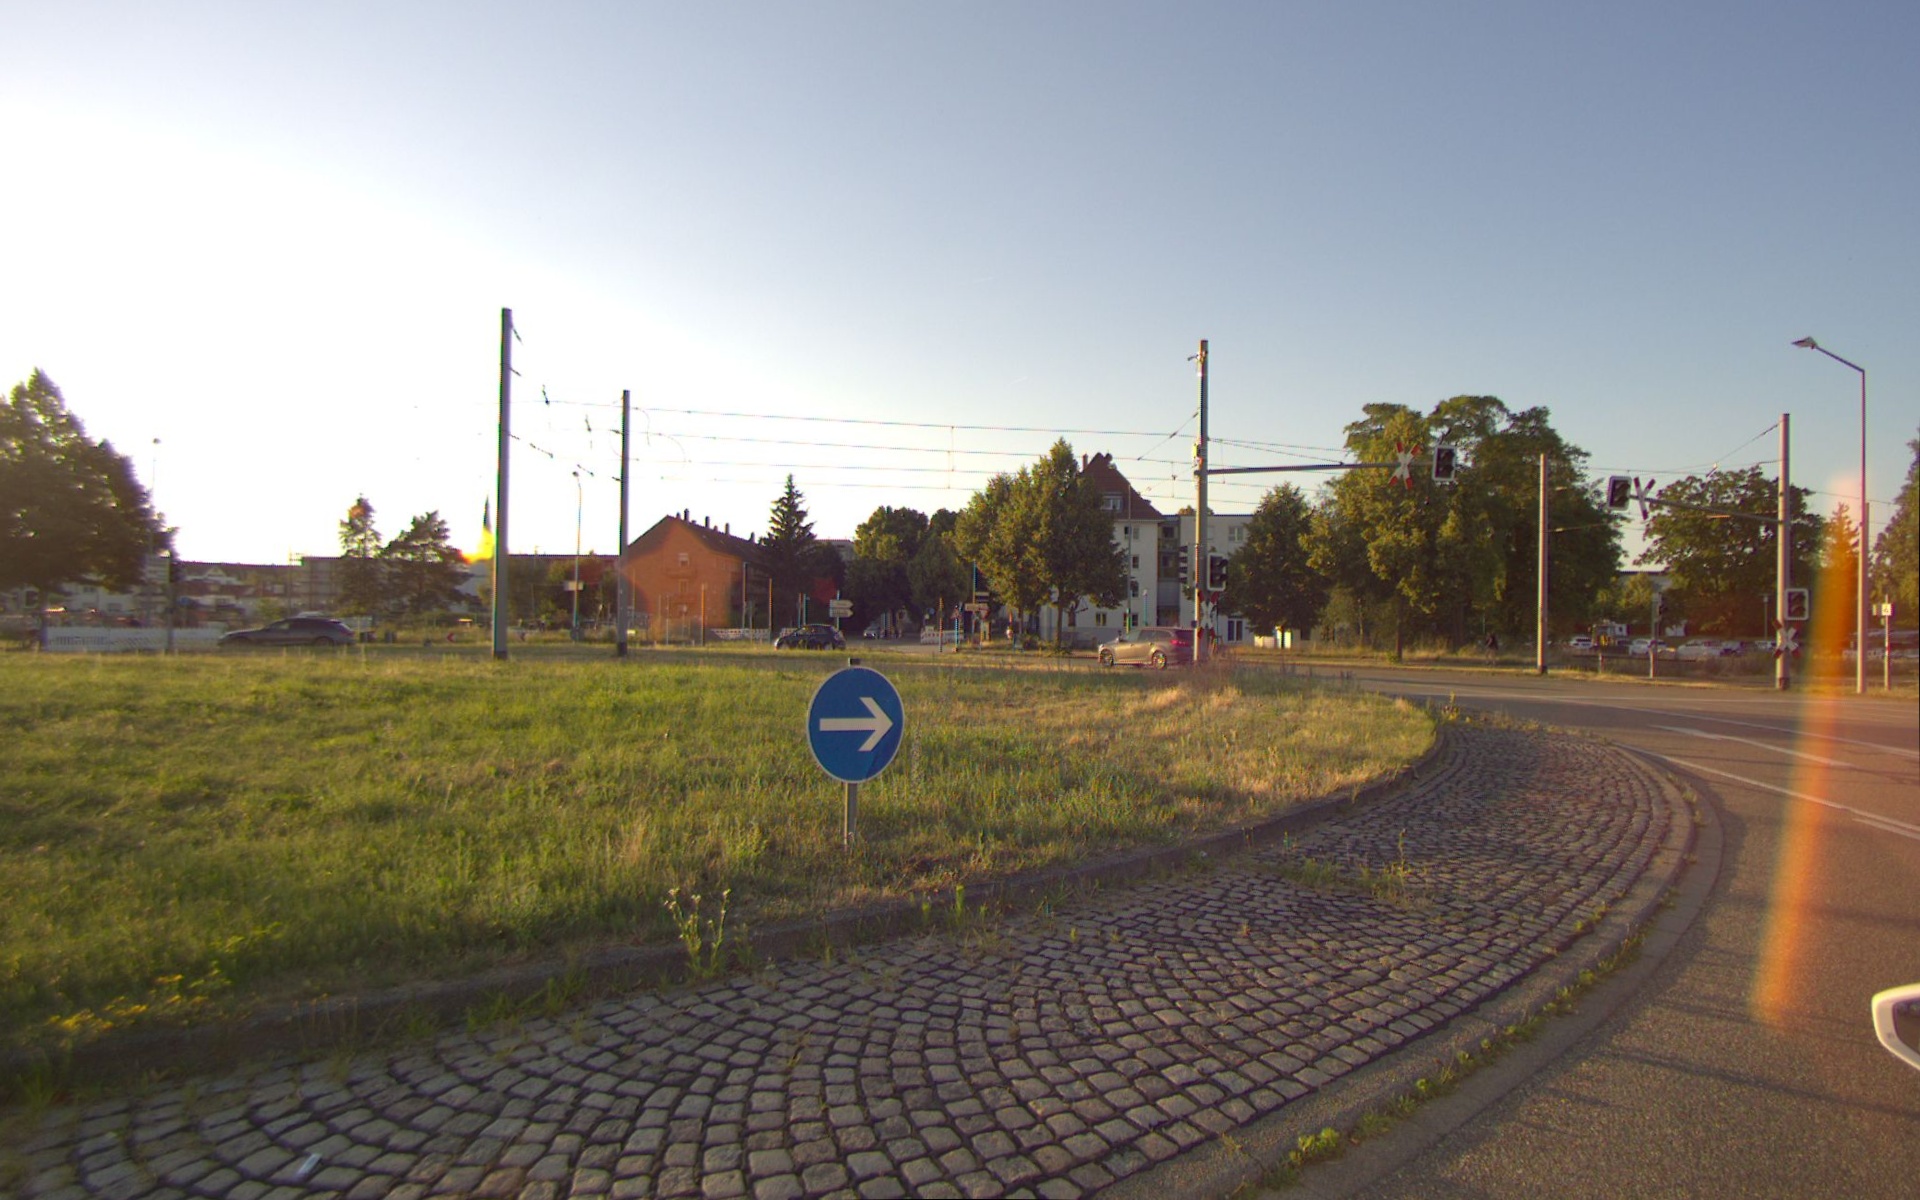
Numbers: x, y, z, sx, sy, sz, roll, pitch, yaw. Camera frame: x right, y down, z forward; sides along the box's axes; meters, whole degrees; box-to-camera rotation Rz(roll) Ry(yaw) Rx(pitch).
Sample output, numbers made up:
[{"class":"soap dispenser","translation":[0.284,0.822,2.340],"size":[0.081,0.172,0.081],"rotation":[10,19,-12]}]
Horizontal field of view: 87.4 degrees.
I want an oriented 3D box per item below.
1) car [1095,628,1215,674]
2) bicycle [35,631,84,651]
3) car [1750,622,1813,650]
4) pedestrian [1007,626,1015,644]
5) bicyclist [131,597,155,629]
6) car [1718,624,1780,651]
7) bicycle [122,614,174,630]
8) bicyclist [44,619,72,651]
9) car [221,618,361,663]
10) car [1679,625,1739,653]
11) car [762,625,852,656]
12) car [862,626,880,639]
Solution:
[{"class":"car","translation":[6.757,1.751,35.239],"size":[1.734,1.486,4.093],"rotation":[1,-2,-36]},{"class":"bicycle","translation":[-46.710,2.105,52.121],"size":[0.539,0.993,1.842],"rotation":[0,-1,26]},{"class":"car","translation":[65.889,2.853,80.646],"size":[1.960,2.126,4.001],"rotation":[1,-1,2]},{"class":"pedestrian","translation":[3.906,2.671,76.764],"size":[0.538,1.392,0.357],"rotation":[1,-1,-11]},{"class":"bicyclist","translation":[-43.658,0.697,53.680],"size":[0.786,1.655,0.693],"rotation":[0,-1,-18]},{"class":"car","translation":[63.216,2.984,80.577],"size":[1.960,2.126,4.001],"rotation":[1,-1,2]},{"class":"bicycle","translation":[-43.524,1.174,53.852],"size":[2.102,0.857,0.510],"rotation":[0,-1,-19]},{"class":"bicyclist","translation":[-46.709,1.798,52.033],"size":[0.800,1.662,0.814],"rotation":[0,-1,26]},{"class":"car","translation":[-27.409,1.618,41.333],"size":[4.536,1.771,1.740],"rotation":[1,-1,-26]},{"class":"car","translation":[60.259,3.093,80.926],"size":[1.960,2.126,4.001],"rotation":[1,-1,2]},{"class":"car","translation":[-7.574,2.003,49.853],"size":[4.051,1.465,1.752],"rotation":[0,-1,14]},{"class":"car","translation":[-10.496,3.813,118.857],"size":[1.596,1.506,4.001],"rotation":[1,-1,2]}]
